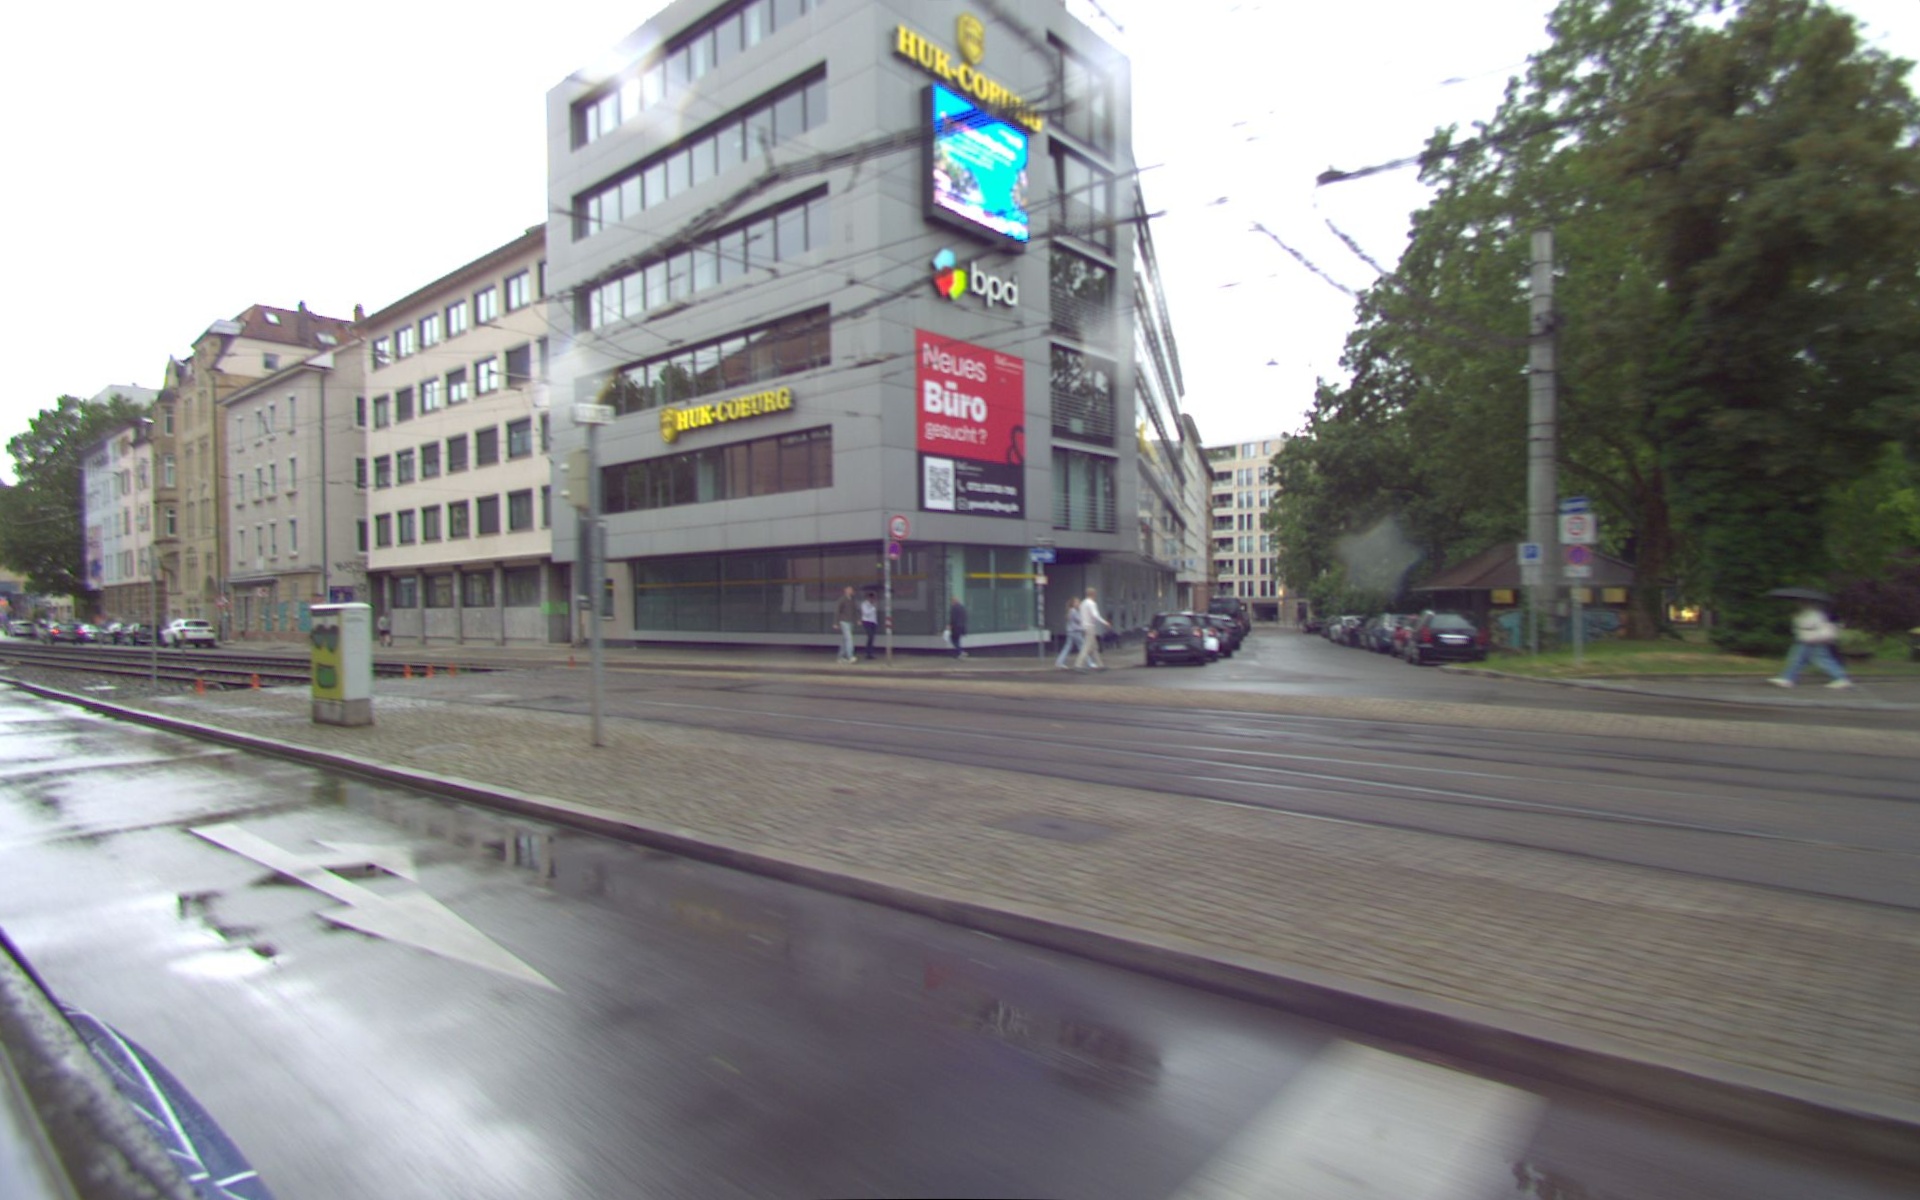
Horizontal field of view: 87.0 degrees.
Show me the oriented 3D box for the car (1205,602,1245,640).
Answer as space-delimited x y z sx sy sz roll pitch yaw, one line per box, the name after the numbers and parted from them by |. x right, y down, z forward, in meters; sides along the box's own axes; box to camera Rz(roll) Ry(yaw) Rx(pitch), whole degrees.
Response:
16.630 1.328 63.427 2.312 2.237 5.042 -1 -2 16 | car

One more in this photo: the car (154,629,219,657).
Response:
-44.512 2.486 58.206 4.745 1.548 1.973 -2 -4 40 | car

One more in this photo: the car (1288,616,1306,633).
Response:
40.489 2.939 121.602 1.846 2.029 3.979 -1 -2 16 | car

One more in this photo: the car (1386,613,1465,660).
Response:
15.182 1.191 33.159 1.686 1.459 3.523 -1 -2 14 | car

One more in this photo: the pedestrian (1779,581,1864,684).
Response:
14.115 0.517 16.606 0.911 1.606 0.992 -2 1 33 | pedestrian

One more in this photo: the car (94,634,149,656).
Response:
-57.461 3.079 69.329 5.018 1.467 1.973 -2 -4 40 | car

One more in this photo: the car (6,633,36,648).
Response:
-95.205 4.104 102.554 4.226 1.553 1.819 -2 -3 42 | car

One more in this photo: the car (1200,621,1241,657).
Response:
11.698 1.738 45.548 1.686 1.567 3.525 -1 -2 13 | car

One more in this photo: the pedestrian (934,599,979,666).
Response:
-0.101 0.800 25.483 0.950 1.606 0.590 -2 1 -15 | pedestrian

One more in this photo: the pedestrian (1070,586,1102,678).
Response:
2.839 0.705 22.855 0.608 2.028 0.662 -2 1 2 | pedestrian

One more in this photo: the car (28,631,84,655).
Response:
-60.131 2.846 67.282 4.342 1.548 1.921 -2 -4 37 | car

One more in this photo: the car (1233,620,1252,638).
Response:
29.599 3.003 106.156 1.842 1.850 3.980 -1 -1 15 | car

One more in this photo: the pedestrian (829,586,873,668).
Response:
-2.760 0.676 25.635 0.810 2.028 0.654 -1 1 39 | pedestrian

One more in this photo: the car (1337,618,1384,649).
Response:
19.495 1.612 49.376 1.686 1.459 3.523 -1 -2 14 | car

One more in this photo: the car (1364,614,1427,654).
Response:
16.749 1.307 39.061 1.686 1.459 3.523 -1 -2 14 | car

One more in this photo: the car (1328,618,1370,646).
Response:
20.997 1.722 54.703 1.686 1.459 3.523 -1 -2 14 | car

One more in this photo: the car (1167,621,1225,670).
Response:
7.529 1.427 32.332 1.686 1.465 3.725 -1 -2 13 | car

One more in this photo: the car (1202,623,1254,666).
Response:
9.560 1.552 36.308 1.686 1.465 3.725 -1 -2 13 | car

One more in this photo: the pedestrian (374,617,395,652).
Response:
-27.250 1.617 47.917 0.798 1.624 0.541 -2 2 43 | pedestrian

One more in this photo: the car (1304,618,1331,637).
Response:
29.859 2.299 84.619 1.774 1.602 3.980 -1 -1 15 | car

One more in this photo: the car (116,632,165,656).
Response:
-53.265 2.871 65.754 4.167 1.467 1.718 -2 -4 40 | car

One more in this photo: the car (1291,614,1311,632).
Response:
38.801 2.604 115.256 1.846 2.029 3.979 -1 -2 16 | car

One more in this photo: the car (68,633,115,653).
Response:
-65.517 3.227 76.332 5.020 1.408 1.972 -2 -4 41 | car

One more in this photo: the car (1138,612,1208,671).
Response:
6.088 1.154 28.650 1.687 1.562 3.722 -1 -2 16 | car

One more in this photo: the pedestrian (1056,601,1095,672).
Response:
2.711 0.837 23.713 0.579 1.606 0.637 -3 1 -32 | pedestrian

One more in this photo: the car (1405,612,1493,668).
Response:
13.459 1.086 28.024 1.689 1.459 3.519 -1 -2 18 | car

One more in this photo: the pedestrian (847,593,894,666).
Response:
-2.340 0.747 26.372 0.958 1.829 0.664 -3 1 -37 | pedestrian
